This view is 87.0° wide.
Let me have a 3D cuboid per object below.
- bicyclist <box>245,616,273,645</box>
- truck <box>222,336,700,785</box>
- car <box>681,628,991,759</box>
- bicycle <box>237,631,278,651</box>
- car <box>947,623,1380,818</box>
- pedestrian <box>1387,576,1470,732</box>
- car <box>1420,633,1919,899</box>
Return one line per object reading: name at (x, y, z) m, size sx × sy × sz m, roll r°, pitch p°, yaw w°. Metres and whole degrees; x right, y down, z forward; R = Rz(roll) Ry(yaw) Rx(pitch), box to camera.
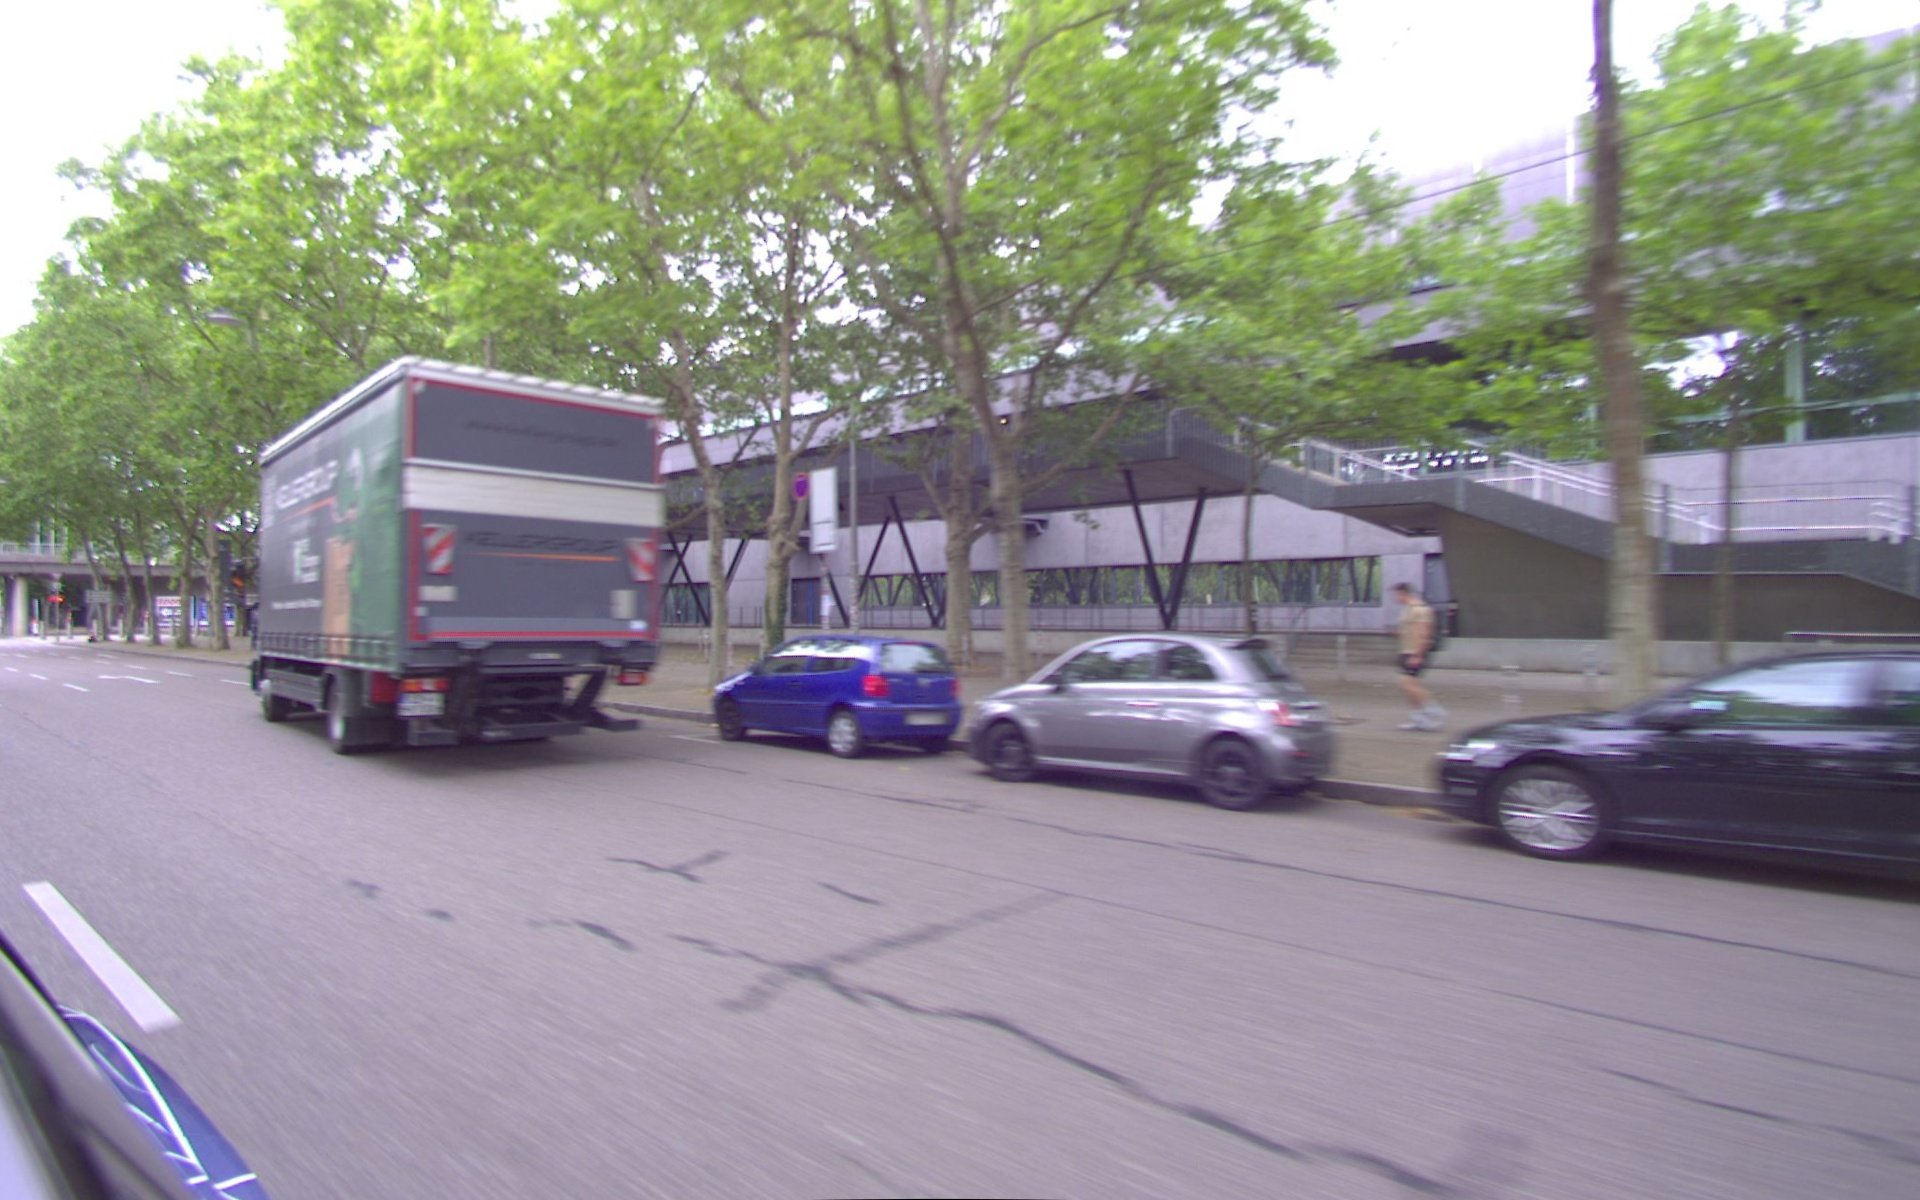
bicyclist at (-35.675, 1.536, 51.509) m, size 1.120 × 1.421 × 0.926 m, roll -1°, pitch -1°, yaw 40°
truck at (-7.089, -0.280, 13.225) m, size 2.875 × 3.898 × 9.476 m, roll 3°, pitch -2°, yaw -43°
car at (-1.672, 1.100, 12.728) m, size 4.001 × 1.372 × 1.675 m, roll -2°, pitch -6°, yaw 44°
bicycle at (-35.627, 2.066, 51.294) m, size 2.974 × 0.990 × 0.949 m, roll -1°, pitch -1°, yaw 40°
car at (1.850, 1.009, 9.575) m, size 3.644 × 1.489 × 1.679 m, roll -1°, pitch -4°, yaw 36°
pedestrian at (5.769, 0.647, 12.472) m, size 0.825 × 1.854 × 0.502 m, roll -1°, pitch -1°, yaw 35°
car at (5.382, 0.953, 6.263) m, size 4.329 × 1.392 × 1.690 m, roll -1°, pitch -5°, yaw 41°
